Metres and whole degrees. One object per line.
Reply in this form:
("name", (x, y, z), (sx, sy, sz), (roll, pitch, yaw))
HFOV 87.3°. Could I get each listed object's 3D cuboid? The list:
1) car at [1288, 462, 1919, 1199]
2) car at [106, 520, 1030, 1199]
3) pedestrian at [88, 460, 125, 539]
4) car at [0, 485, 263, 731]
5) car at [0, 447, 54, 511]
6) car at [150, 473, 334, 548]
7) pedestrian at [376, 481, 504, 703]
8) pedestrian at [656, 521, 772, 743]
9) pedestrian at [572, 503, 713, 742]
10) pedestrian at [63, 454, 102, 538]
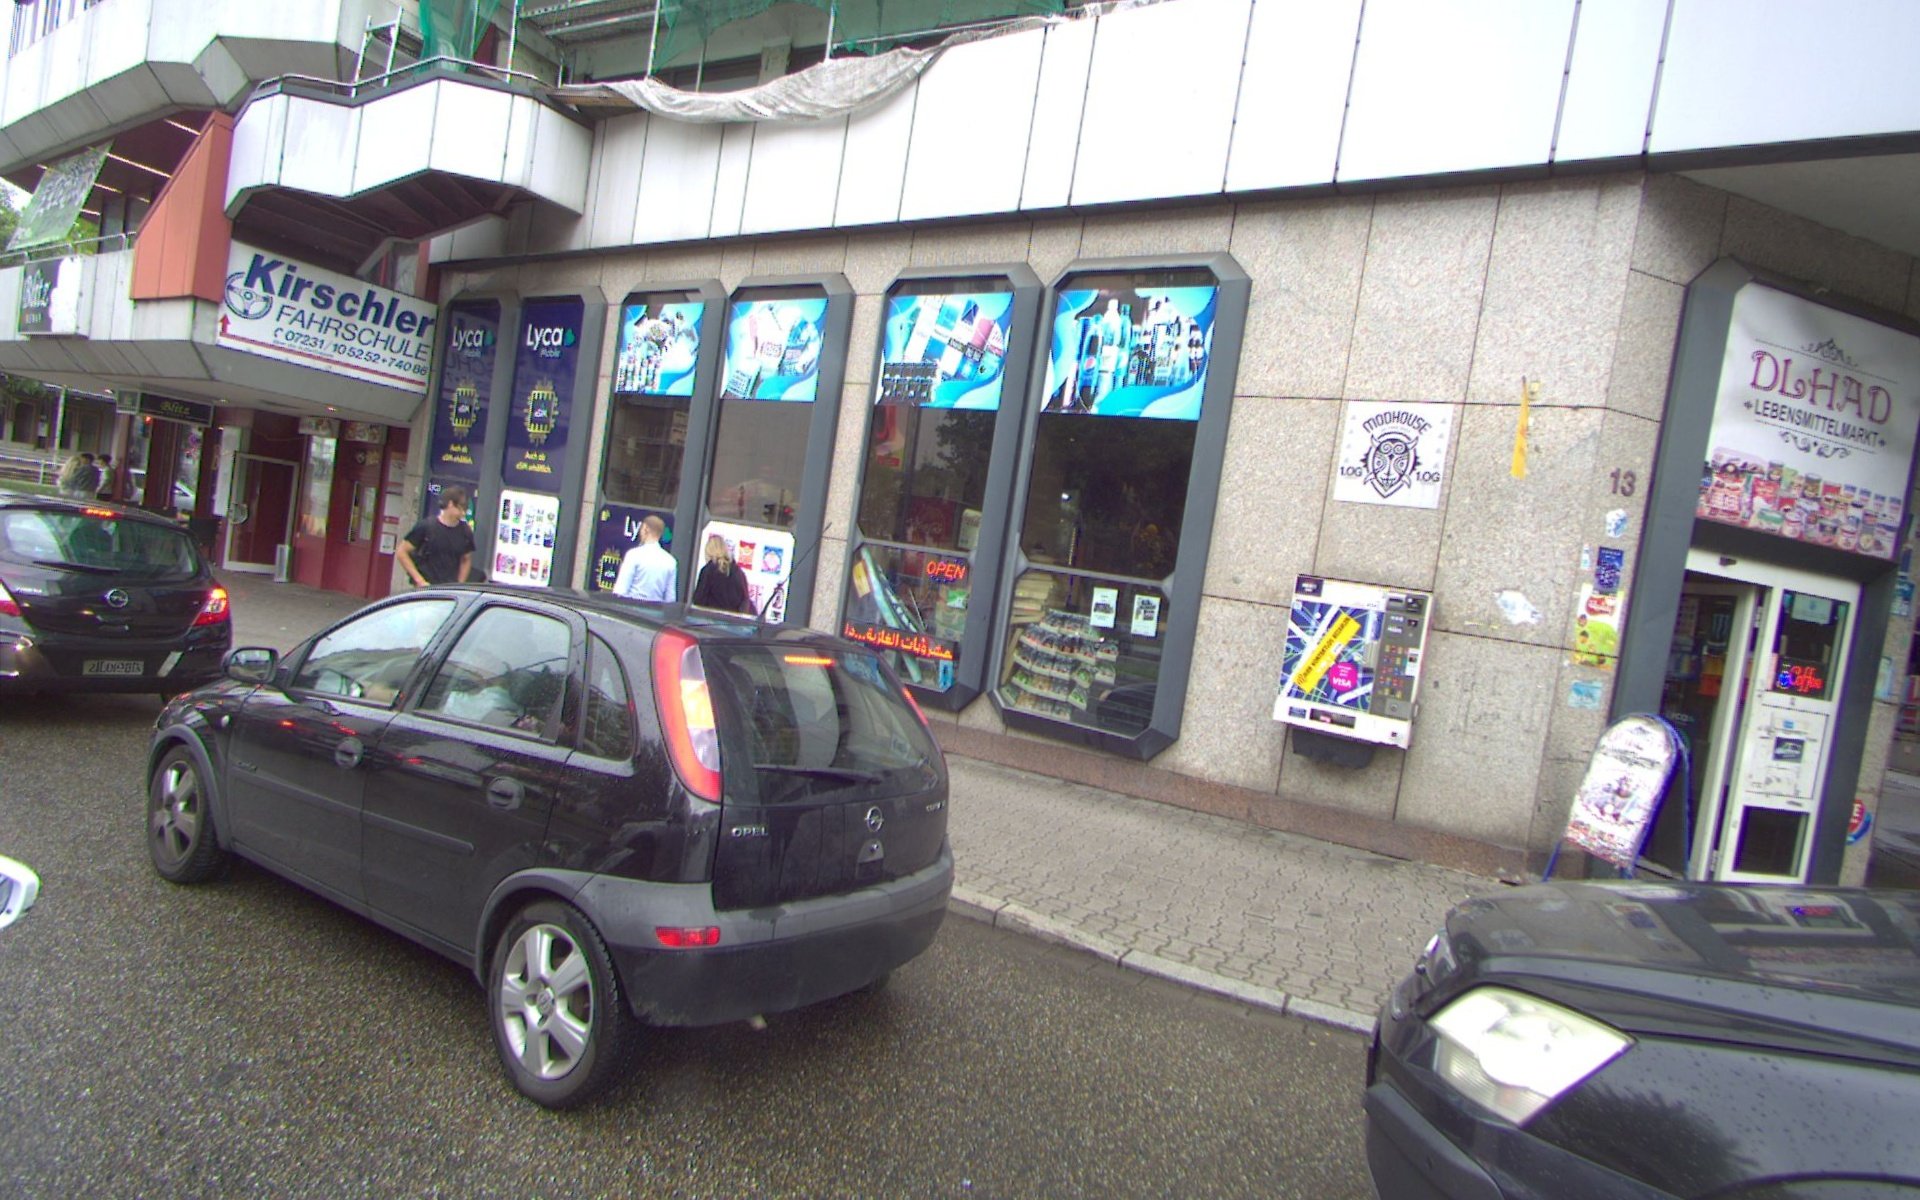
("car", (2.801, 0.960, 1.436), (4.094, 1.786, 1.763), (8, -1, 32))
("car", (-1.735, 0.646, 4.104), (3.563, 1.446, 1.609), (8, -1, 33))
("pedestrian", (-18.682, -2.204, 22.010), (0.496, 1.660, 0.396), (6, 1, 32))
("car", (-7.081, -0.109, 7.370), (3.776, 1.446, 1.620), (8, -1, 29))
("car", (-26.510, -3.432, 26.220), (1.593, 1.503, 3.911), (6, -2, 19))
("car", (-21.743, -2.668, 30.674), (1.673, 1.584, 4.240), (8, 0, 21))
("pedestrian", (-4.577, -0.077, 8.846), (0.763, 1.841, 0.739), (7, 4, 43))
("pedestrian", (-2.303, 0.283, 9.436), (0.629, 1.961, 0.736), (6, 4, 31))
("pedestrian", (-2.750, 0.200, 8.755), (0.629, 1.957, 0.737), (6, -1, 31))
("pedestrian", (-18.640, -2.205, 21.371), (0.443, 1.704, 0.426), (6, 1, 30))
